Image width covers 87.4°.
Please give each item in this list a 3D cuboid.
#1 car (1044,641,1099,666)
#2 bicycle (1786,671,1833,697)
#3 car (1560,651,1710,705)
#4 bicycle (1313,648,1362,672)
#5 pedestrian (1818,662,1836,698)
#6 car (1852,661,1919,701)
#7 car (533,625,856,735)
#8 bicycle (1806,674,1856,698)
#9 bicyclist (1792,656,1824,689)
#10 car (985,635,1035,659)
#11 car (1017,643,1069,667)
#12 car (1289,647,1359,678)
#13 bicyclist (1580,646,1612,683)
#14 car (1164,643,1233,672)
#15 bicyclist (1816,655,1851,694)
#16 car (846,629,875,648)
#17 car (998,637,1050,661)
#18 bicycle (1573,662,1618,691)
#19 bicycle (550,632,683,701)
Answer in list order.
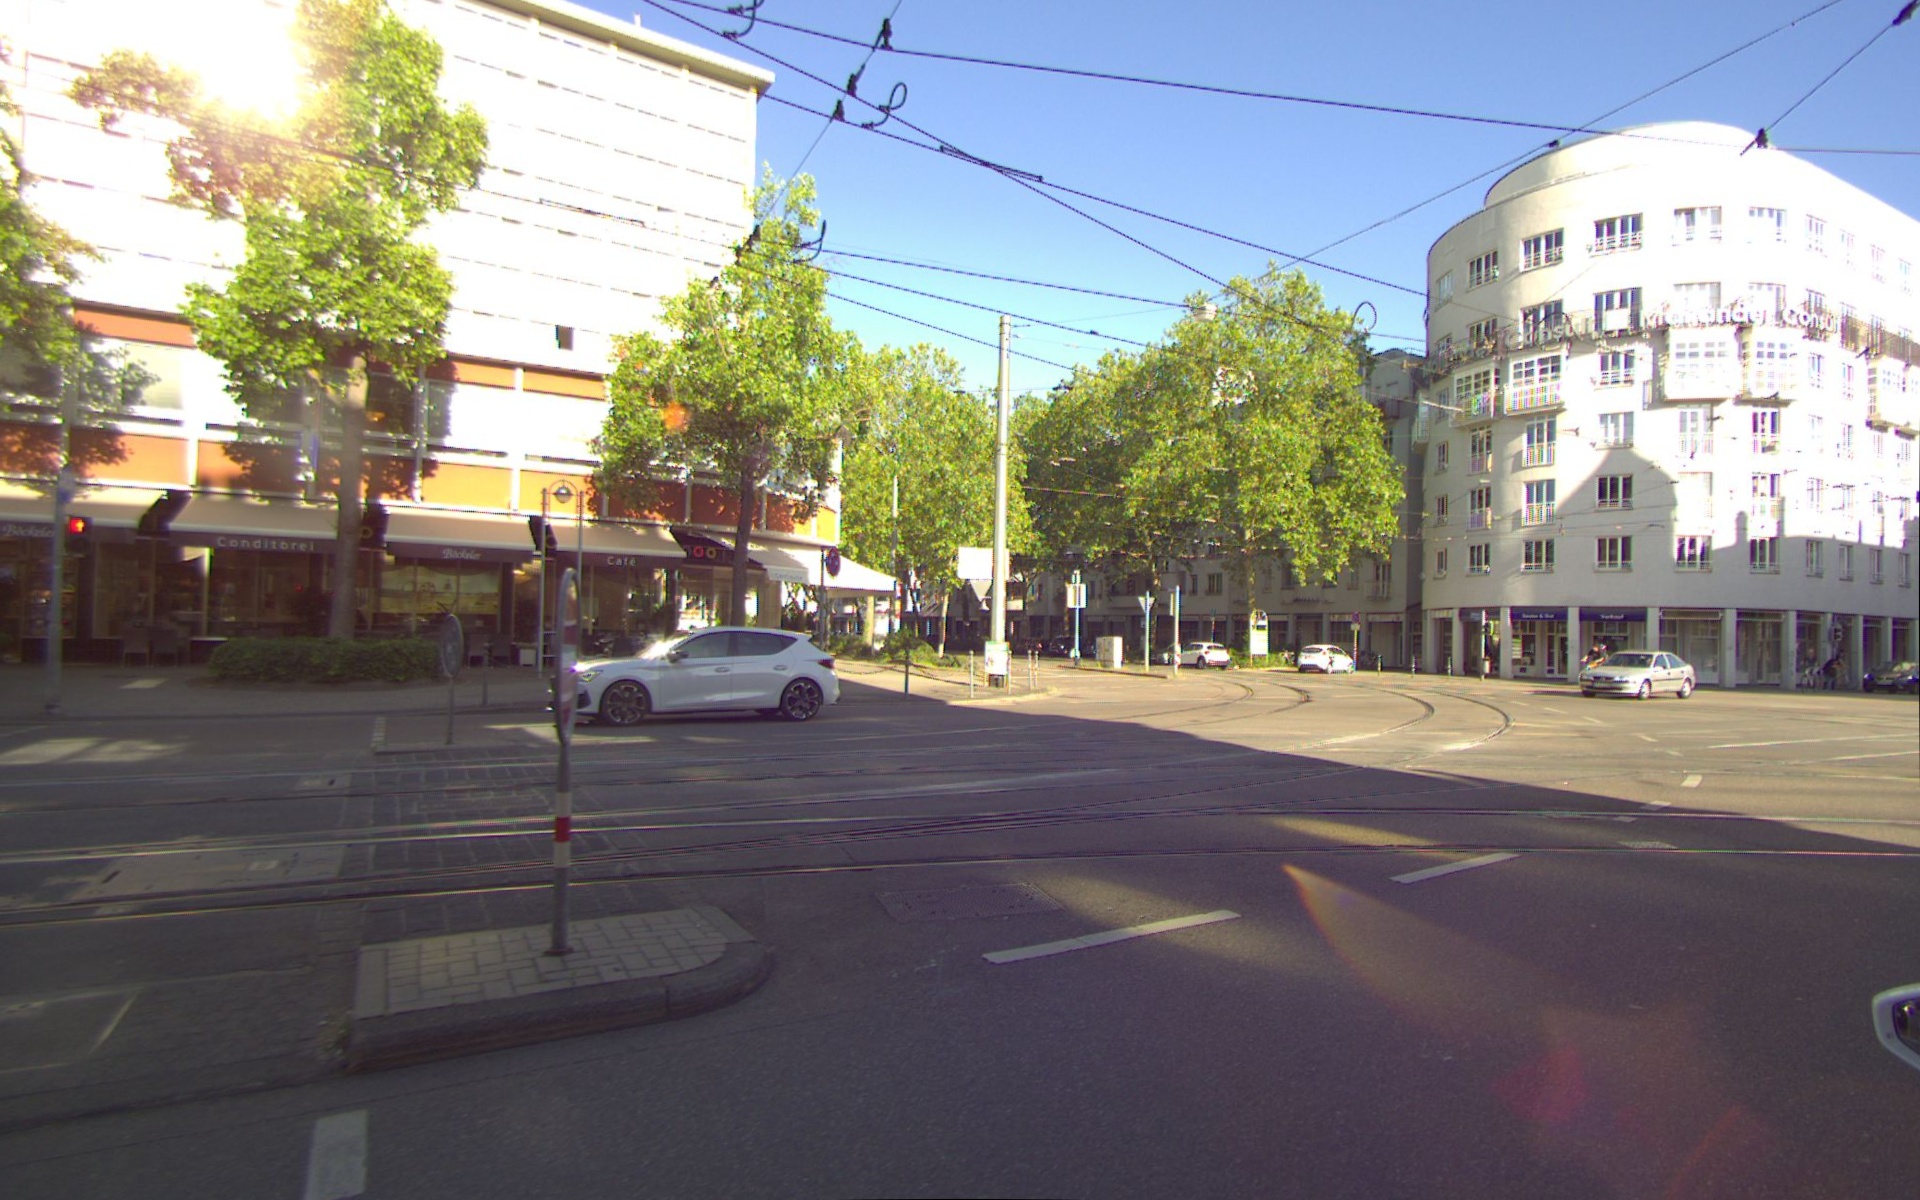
[{"bbox_3d":[8.691,4.179,78.334,3.955,1.906,1.808,3,-2,-31],"label":"car"},{"bbox_3d":[35.257,3.477,41.679,1.824,0.985,0.594,3,-2,-16],"label":"bicycle"},{"bbox_3d":[20.488,2.352,30.454,4.596,1.470,1.984,3,-2,-30],"label":"car"},{"bbox_3d":[22.337,3.550,59.482,0.593,1.250,2.864,1,-1,-37],"label":"bicycle"},{"bbox_3d":[38.952,3.595,45.148,0.434,1.554,0.683,0,0,25],"label":"pedestrian"},{"bbox_3d":[41.103,3.565,43.959,3.955,1.617,1.984,4,-3,-31],"label":"car"},{"bbox_3d":[-4.057,1.181,15.529,4.450,1.470,1.984,3,-2,-30],"label":"car"},{"bbox_3d":[40.494,4.006,46.699,1.727,0.993,0.678,2,-1,-1],"label":"bicycle"},{"bbox_3d":[35.155,2.999,41.658,0.976,1.302,0.588,3,-2,-17],"label":"bicyclist"},{"bbox_3d":[4.332,4.049,86.794,3.955,1.906,1.808,3,-2,-31],"label":"car"},{"bbox_3d":[6.790,4.508,82.299,3.955,1.906,1.808,3,-2,-31],"label":"car"},{"bbox_3d":[19.165,3.241,52.808,4.072,1.421,1.781,1,-1,-42],"label":"car"},{"bbox_3d":[23.382,2.377,36.929,0.915,1.302,0.586,4,-2,-28],"label":"bicyclist"},{"bbox_3d":[13.504,3.223,57.054,1.779,1.421,3.984,1,0,-24],"label":"car"},{"bbox_3d":[40.631,3.449,46.727,1.009,1.718,0.724,2,-1,0],"label":"bicyclist"},{"bbox_3d":[-11.599,4.475,116.905,1.976,2.040,3.970,4,-3,-29],"label":"car"},{"bbox_3d":[5.363,4.072,83.860,3.955,1.906,1.808,3,-2,-31],"label":"car"},{"bbox_3d":[23.388,2.822,36.938,1.795,0.985,0.591,4,-3,-28],"label":"bicycle"},{"bbox_3d":[-6.235,1.212,18.294,2.209,1.202,0.495,3,-2,-31],"label":"bicycle"}]
